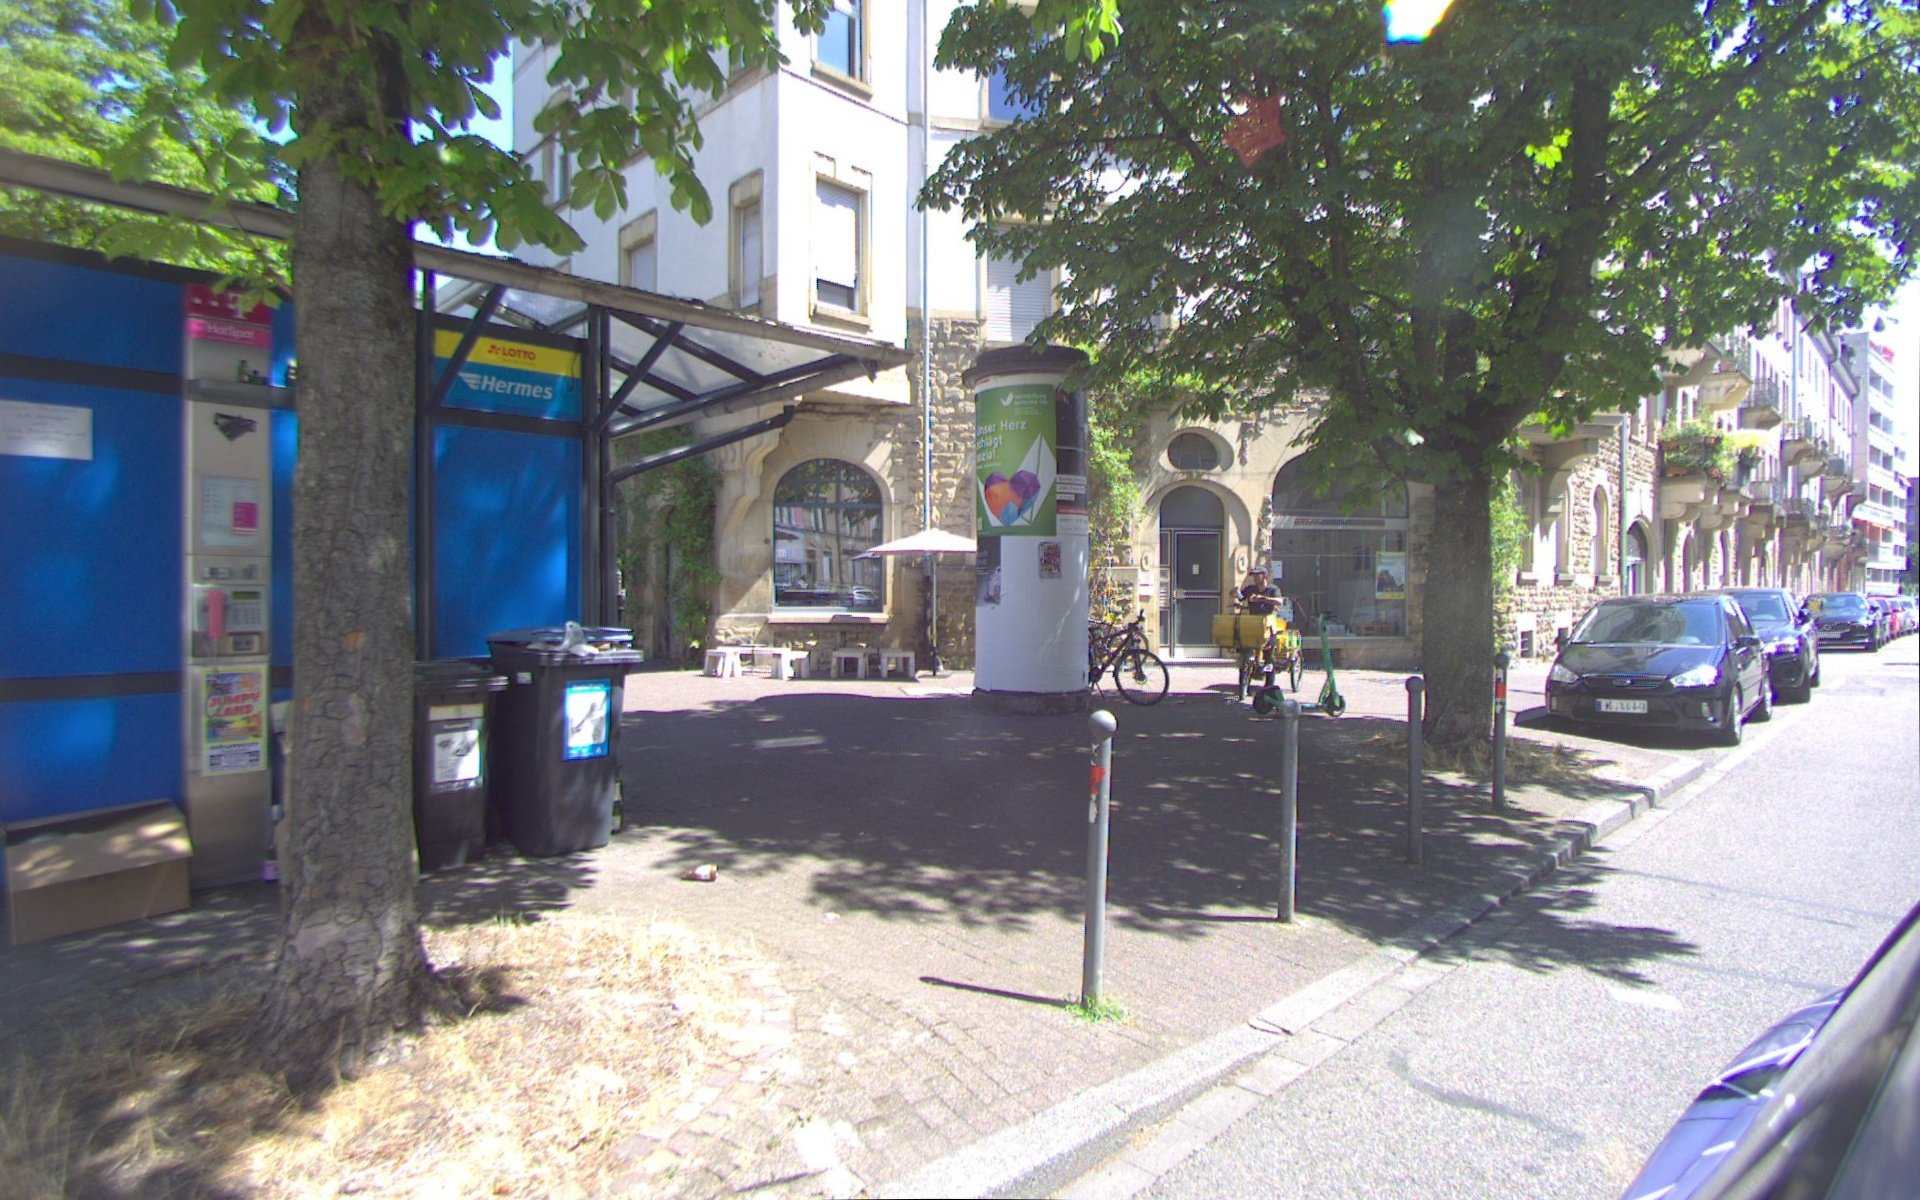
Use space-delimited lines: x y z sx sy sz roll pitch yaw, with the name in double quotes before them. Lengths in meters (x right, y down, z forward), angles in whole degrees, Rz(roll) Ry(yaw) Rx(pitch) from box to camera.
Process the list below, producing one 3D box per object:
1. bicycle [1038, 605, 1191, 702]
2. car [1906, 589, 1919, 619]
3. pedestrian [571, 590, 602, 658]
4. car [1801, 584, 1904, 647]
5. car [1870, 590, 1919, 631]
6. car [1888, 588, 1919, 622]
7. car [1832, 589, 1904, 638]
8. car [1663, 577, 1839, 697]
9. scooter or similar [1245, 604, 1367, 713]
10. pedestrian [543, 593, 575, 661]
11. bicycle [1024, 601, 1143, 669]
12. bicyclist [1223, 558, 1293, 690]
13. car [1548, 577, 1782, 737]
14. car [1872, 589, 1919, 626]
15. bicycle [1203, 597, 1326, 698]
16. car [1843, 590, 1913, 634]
"bicycle" 1.888 0.624 12.594 0.623 1.052 1.902 -1 2 -43
"car" 48.504 0.174 50.513 1.823 1.450 4.418 0 0 44
"pedestrian" -6.825 0.427 18.491 0.407 1.197 0.444 0 1 -43
"car" 24.529 0.381 27.758 1.833 1.587 4.531 -2 -1 45
"car" 36.401 0.386 39.124 1.590 1.471 3.794 -2 -1 45
"car" 44.124 0.225 46.619 4.591 1.476 1.738 -1 2 -44
"car" 28.599 0.394 31.847 1.512 1.416 3.909 -2 -1 44
"car" 12.379 0.492 15.742 1.735 1.617 4.280 -2 -1 43
"scooter or similar" 3.786 0.631 11.102 1.161 1.150 0.444 0 1 -7
"pedestrian" -7.170 0.474 18.085 0.407 1.197 0.444 0 1 -43
"bicycle" 1.977 0.556 16.283 1.799 1.052 0.551 0 1 -11
"bicyclist" 3.892 0.291 13.220 0.676 1.668 0.653 1 1 37
"car" 8.465 0.553 11.998 1.662 1.560 4.112 -2 -1 43
"car" 40.155 0.308 42.887 4.517 1.471 1.719 -1 -1 -41
"bicycle" 4.143 0.575 13.606 0.791 1.183 2.545 1 2 36
"car" 32.459 0.397 35.755 3.779 1.471 1.571 -1 -1 -44
